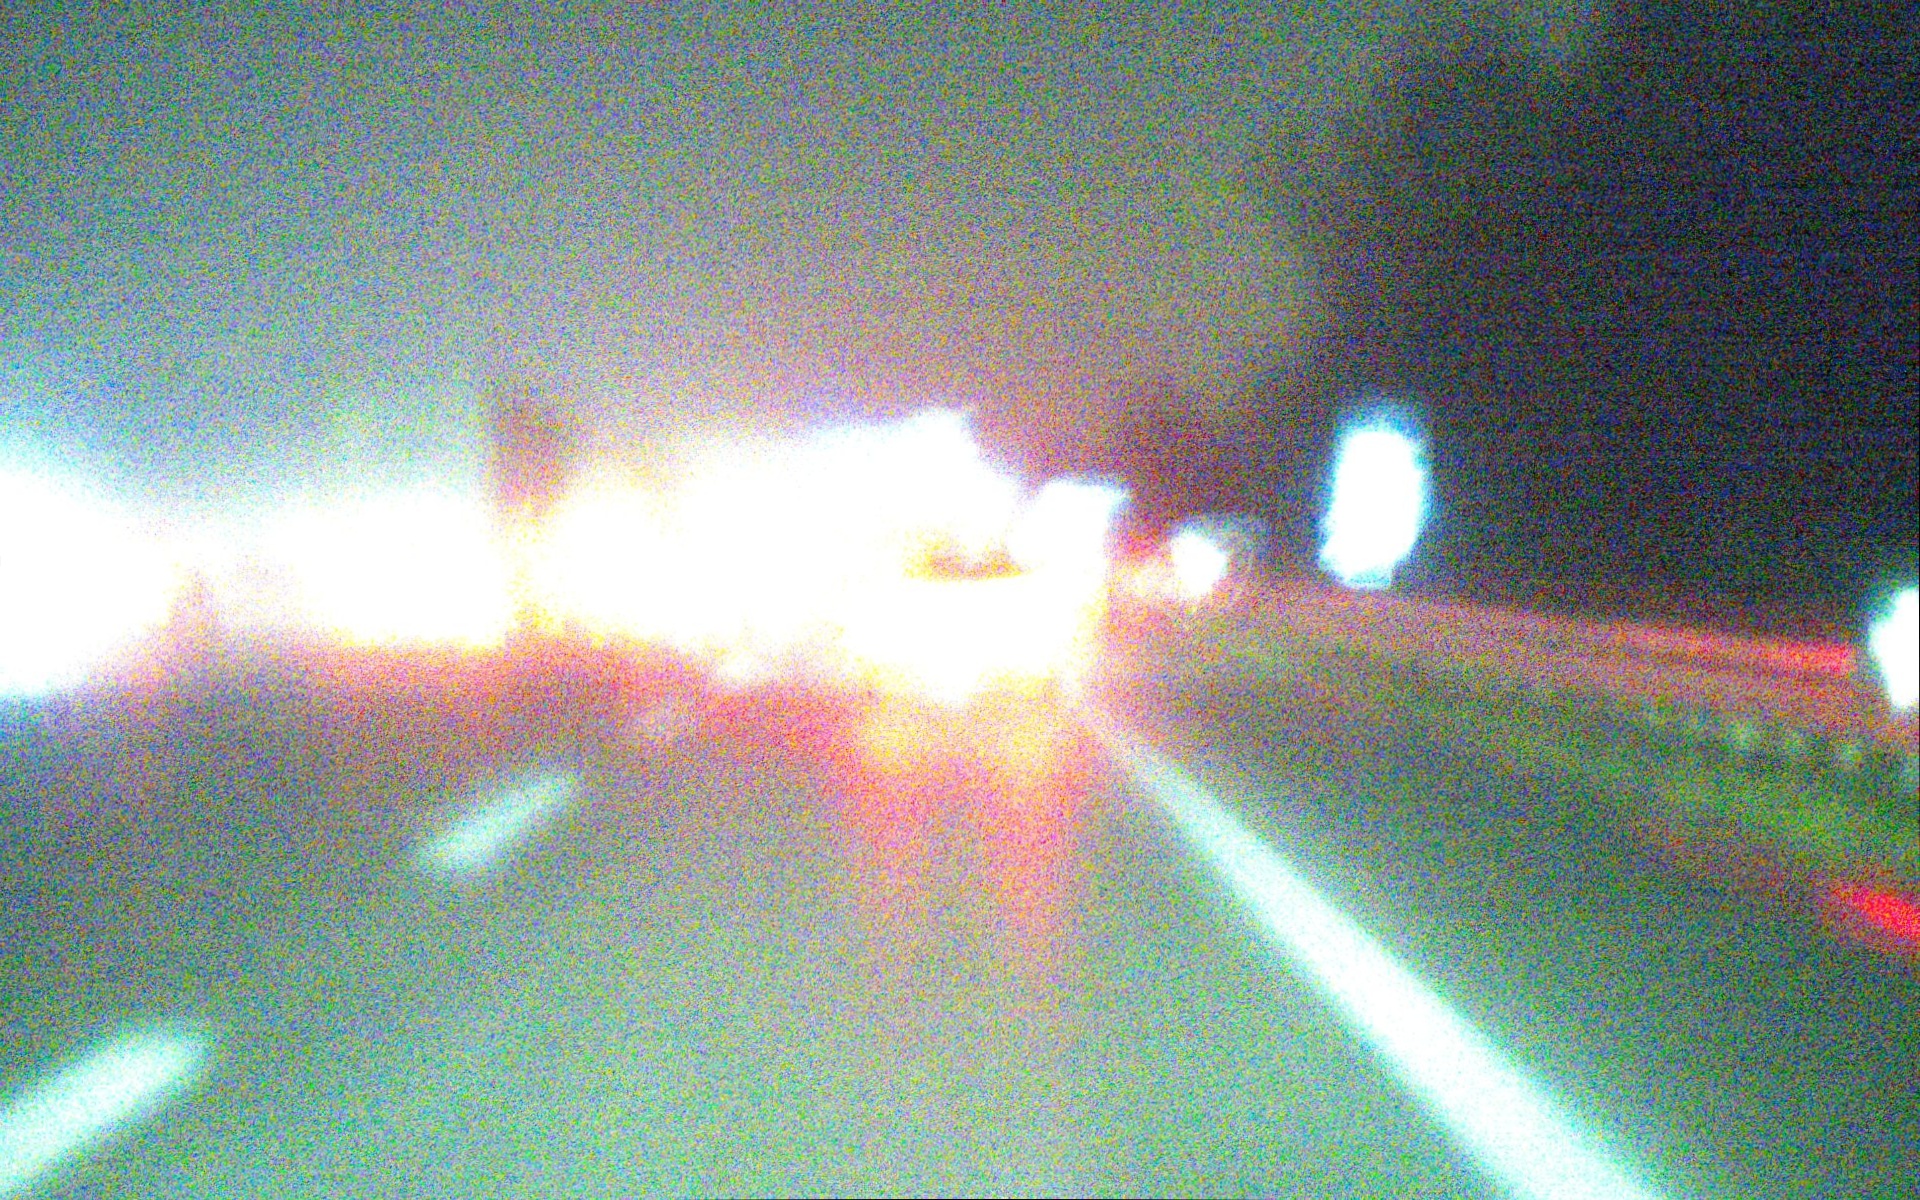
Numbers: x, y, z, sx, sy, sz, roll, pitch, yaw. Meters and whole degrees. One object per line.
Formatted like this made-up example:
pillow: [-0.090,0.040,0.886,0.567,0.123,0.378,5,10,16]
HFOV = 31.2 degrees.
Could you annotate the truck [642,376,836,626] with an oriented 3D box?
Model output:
truck: [-5.252,-2.309,84.074,4.210,5.629,11.468,1,0,-1]

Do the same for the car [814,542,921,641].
car: [-2.005,-0.204,73.188,2.125,2.007,4.646,1,0,-3]

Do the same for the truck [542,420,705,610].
truck: [-10.488,-2.582,108.463,4.210,5.629,11.468,1,0,-1]

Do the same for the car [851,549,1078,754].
car: [0.013,0.442,32.653,1.993,1.801,4.000,1,0,-1]

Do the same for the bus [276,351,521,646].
bus: [-9.366,-1.614,58.520,3.096,4.492,10.915,1,0,-4]

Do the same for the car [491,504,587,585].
car: [-9.806,-1.286,80.335,1.993,1.801,4.001,1,0,-4]

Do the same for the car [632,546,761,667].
car: [-4.568,0.090,60.228,2.125,2.007,4.646,1,0,-3]

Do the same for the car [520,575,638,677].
car: [-7.060,0.449,64.032,1.993,1.801,4.001,1,0,-4]

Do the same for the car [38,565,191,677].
car: [-13.006,0.299,53.068,1.694,1.645,3.841,1,0,-5]
